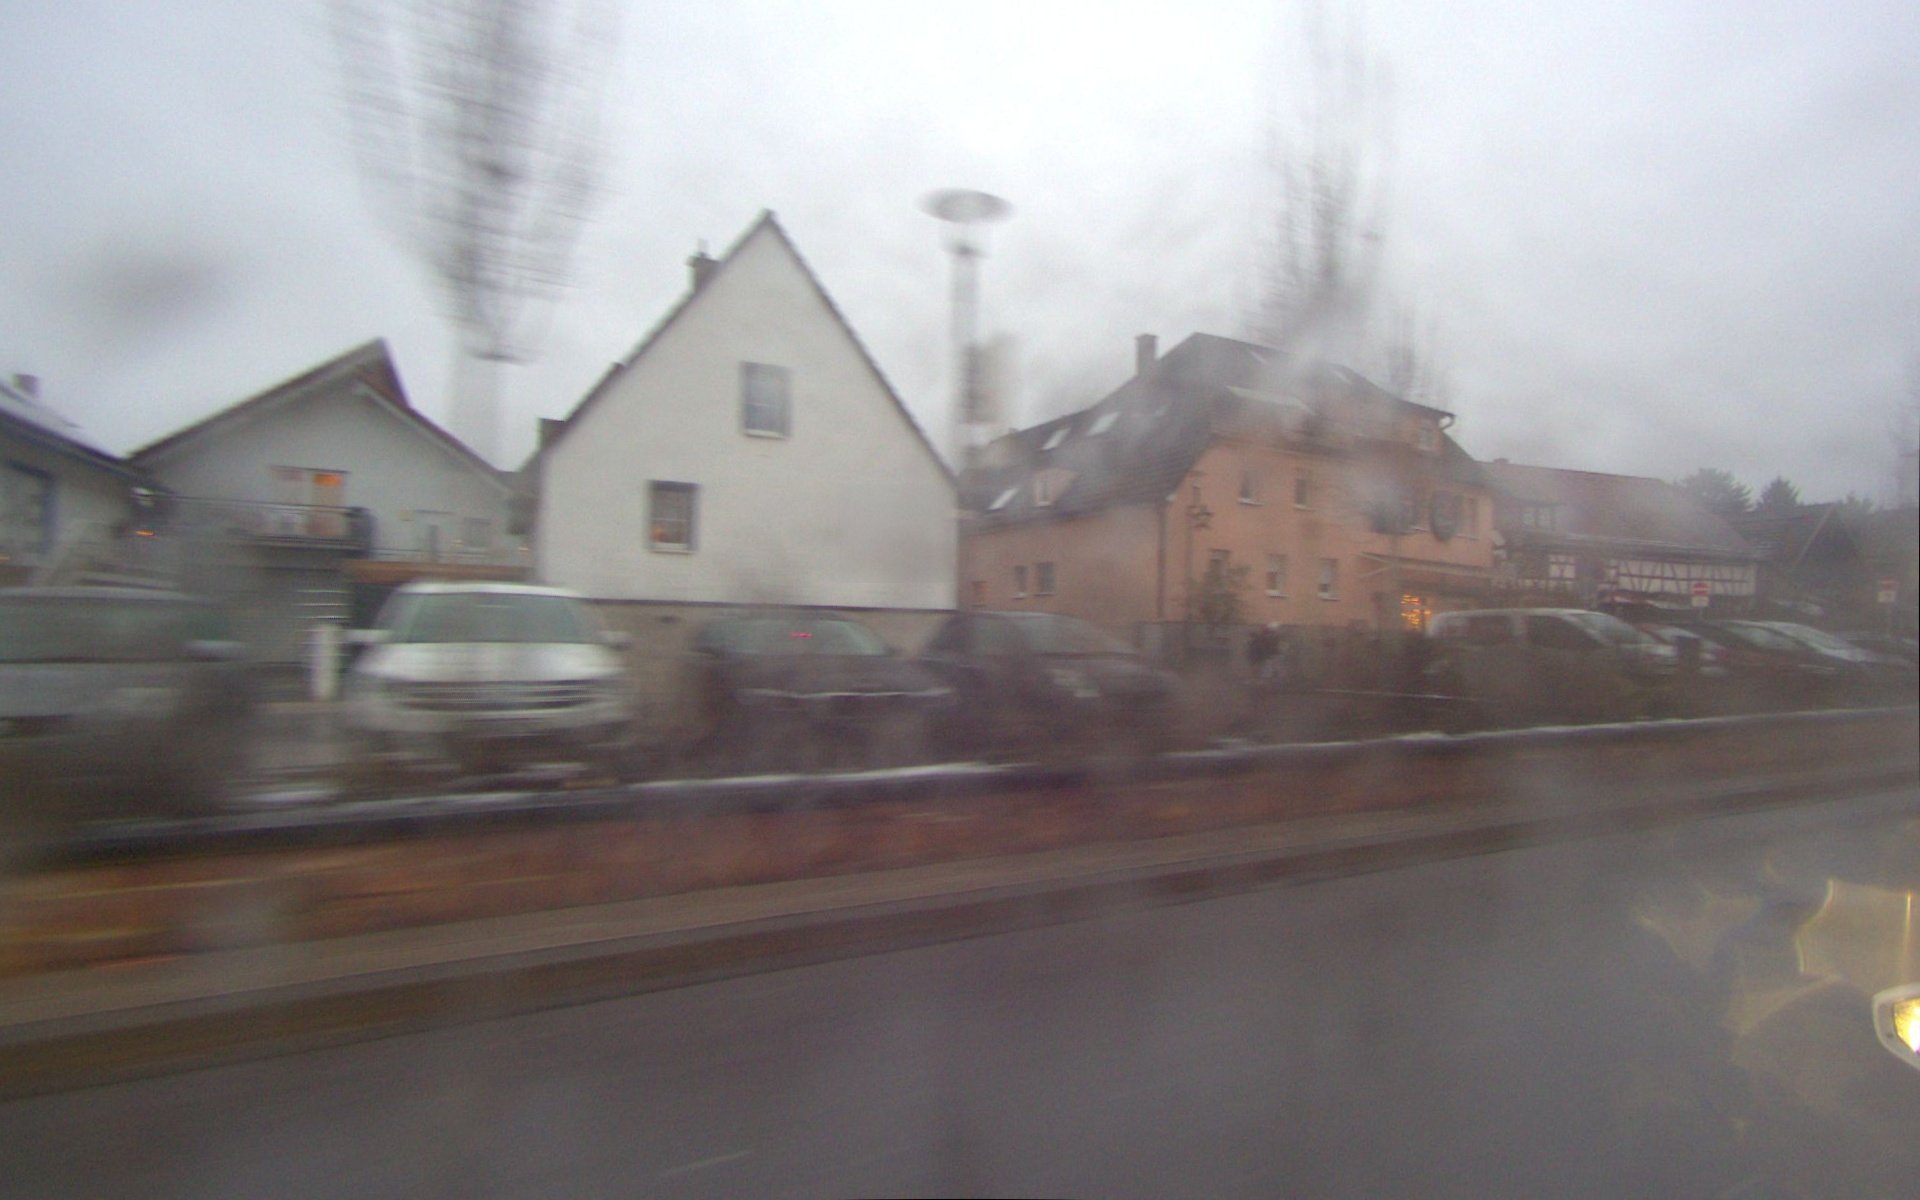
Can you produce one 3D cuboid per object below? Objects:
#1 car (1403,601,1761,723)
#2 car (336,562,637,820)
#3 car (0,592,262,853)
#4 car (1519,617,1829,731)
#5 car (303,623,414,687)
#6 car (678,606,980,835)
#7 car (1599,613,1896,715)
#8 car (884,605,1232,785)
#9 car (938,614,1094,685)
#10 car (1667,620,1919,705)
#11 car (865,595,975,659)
[{"bbox_3d":[9.942,0.897,16.473,1.978,1.689,4.600,2,-1,-32],"label":"car"},{"bbox_3d":[-3.834,0.576,8.112,1.693,1.543,3.779,2,-1,-27],"label":"car"},{"bbox_3d":[-5.918,0.660,6.860,1.582,1.390,3.428,1,-1,-30],"label":"car"},{"bbox_3d":[12.366,1.197,17.719,1.657,1.674,4.185,2,-1,-25],"label":"car"},{"bbox_3d":[-15.947,1.431,26.834,1.890,1.516,3.922,3,-2,-22],"label":"car"},{"bbox_3d":[-1.450,0.908,9.436,1.566,1.629,4.079,2,-1,-26],"label":"car"},{"bbox_3d":[14.689,1.123,19.026,1.636,1.665,4.154,2,-1,-25],"label":"car"},{"bbox_3d":[0.839,0.903,11.096,1.855,1.517,4.112,4,-1,-27],"label":"car"},{"bbox_3d":[1.345,1.227,25.862,1.978,1.518,4.062,4,-1,-32],"label":"car"},{"bbox_3d":[16.718,1.207,20.343,1.686,1.466,3.534,2,0,-25],"label":"car"},{"bbox_3d":[-1.213,0.784,29.719,1.587,1.680,3.061,4,-1,-41],"label":"car"}]
